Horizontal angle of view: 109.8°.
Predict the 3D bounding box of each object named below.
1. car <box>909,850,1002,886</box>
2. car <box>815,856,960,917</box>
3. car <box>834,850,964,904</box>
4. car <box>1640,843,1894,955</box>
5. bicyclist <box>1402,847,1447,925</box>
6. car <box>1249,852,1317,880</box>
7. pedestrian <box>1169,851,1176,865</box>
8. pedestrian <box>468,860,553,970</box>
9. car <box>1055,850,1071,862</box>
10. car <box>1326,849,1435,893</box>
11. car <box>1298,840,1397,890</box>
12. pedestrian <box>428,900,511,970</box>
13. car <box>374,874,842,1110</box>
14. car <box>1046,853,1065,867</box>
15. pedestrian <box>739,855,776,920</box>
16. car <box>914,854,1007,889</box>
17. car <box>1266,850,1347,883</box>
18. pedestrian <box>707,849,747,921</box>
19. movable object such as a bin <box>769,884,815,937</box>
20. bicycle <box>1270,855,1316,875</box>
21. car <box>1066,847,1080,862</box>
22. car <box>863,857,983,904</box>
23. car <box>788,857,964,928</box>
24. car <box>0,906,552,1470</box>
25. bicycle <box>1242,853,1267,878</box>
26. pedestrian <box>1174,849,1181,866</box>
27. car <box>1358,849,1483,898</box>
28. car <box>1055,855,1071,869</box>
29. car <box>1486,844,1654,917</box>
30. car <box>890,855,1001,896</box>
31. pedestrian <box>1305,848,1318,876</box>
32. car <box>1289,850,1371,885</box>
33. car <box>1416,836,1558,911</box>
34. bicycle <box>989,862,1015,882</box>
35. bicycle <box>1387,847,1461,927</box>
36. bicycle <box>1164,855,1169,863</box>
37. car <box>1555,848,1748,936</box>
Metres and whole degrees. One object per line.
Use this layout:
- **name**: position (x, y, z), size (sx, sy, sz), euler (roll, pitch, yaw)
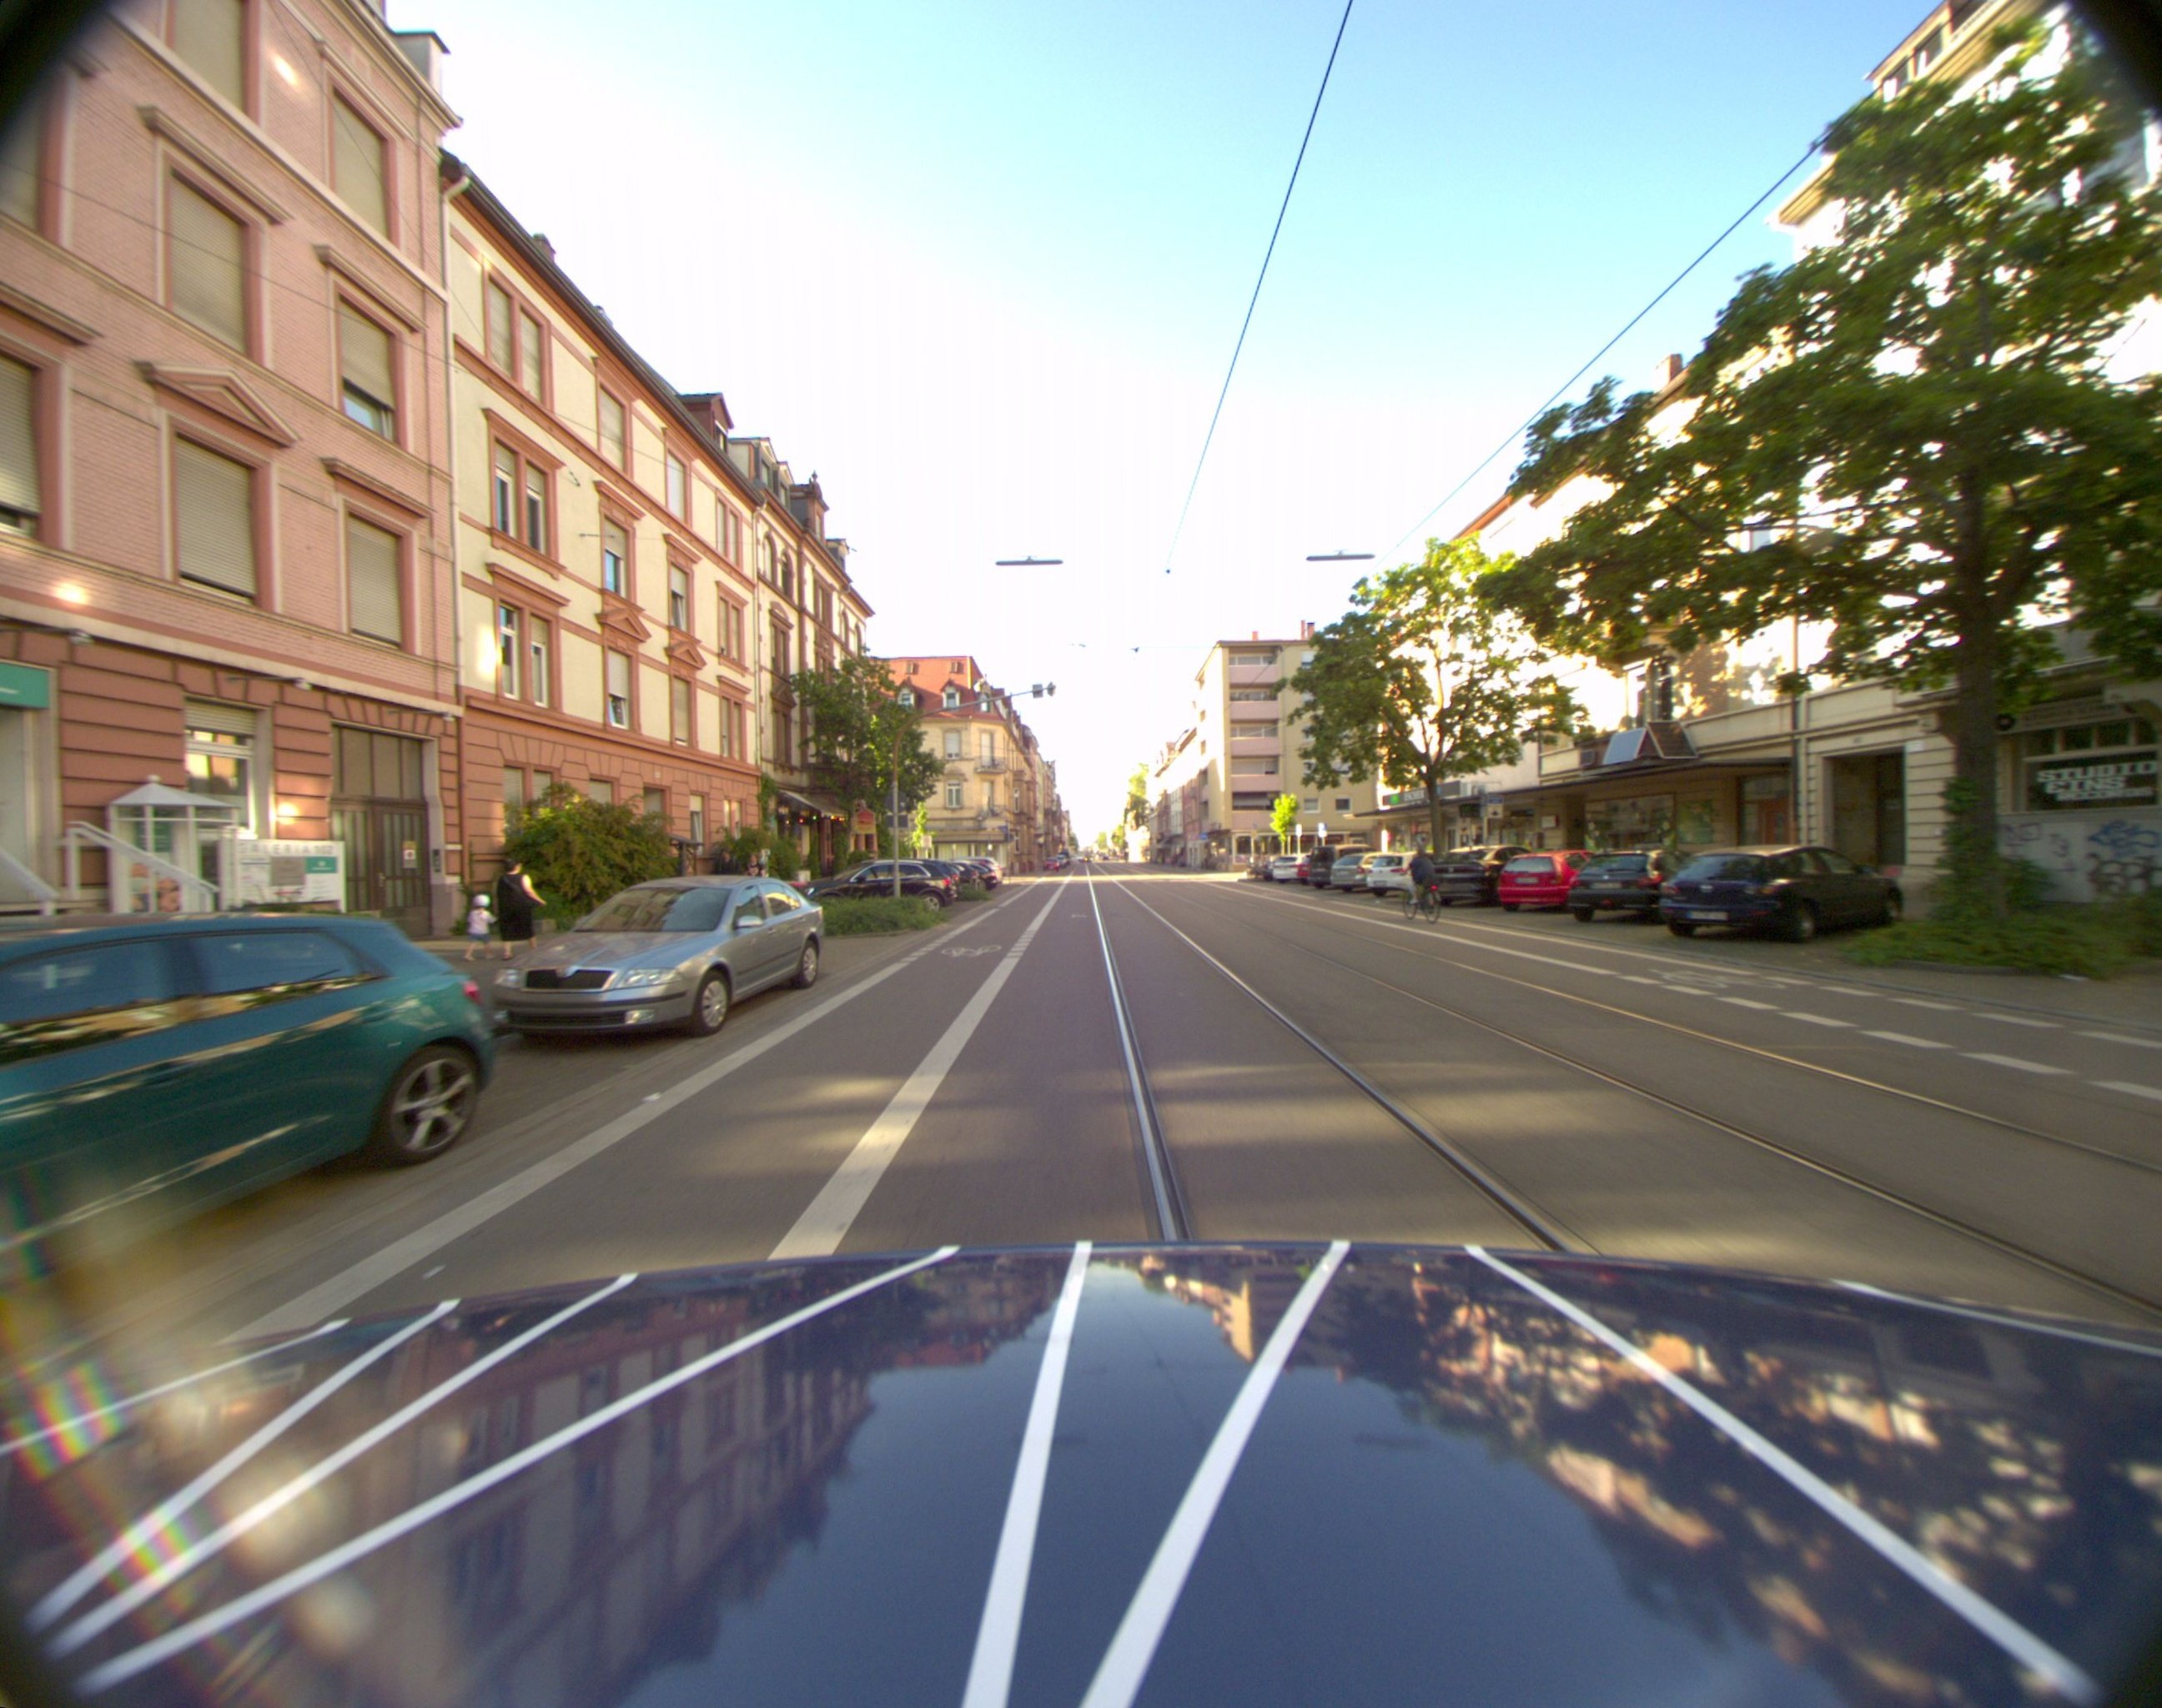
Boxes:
- **car**: position (-6.050, 0.645, 36.555), size (4.004, 1.528, 1.915), euler (-2, 1, -24)
- **car**: position (-5.984, 0.935, 23.476), size (4.004, 1.587, 2.083), euler (-2, 1, -24)
- **car**: position (-6.277, 0.745, 26.173), size (4.004, 1.587, 1.955), euler (-2, 1, -24)
- **car**: position (11.342, 0.635, 12.540), size (4.005, 1.481, 1.802), euler (-2, 1, -27)
- **bicyclist**: position (7.601, 0.689, 16.857), size (0.636, 1.672, 0.726), euler (-2, 1, 1)
- **car**: position (10.874, 0.614, 40.871), size (3.476, 1.330, 1.620), euler (-3, 1, -33)
- **pedestrian**: position (9.886, 0.459, 82.542), size (0.637, 1.540, 0.623), euler (-2, 1, 0)
- **pedestrian**: position (-8.684, 0.911, 11.586), size (0.713, 1.598, 0.654), euler (-2, 1, 0)
- **car**: position (-2.514, 0.311, 107.951), size (1.998, 1.606, 4.785), euler (2, 1, 0)
- **car**: position (11.433, 0.619, 28.976), size (4.025, 1.441, 1.695), euler (-2, 1, -29)
- **car**: position (11.217, 0.432, 31.895), size (3.828, 1.775, 1.793), euler (-4, 2, -30)
- **pedestrian**: position (-9.266, 1.211, 11.535), size (0.713, 0.975, 0.654), euler (2, 1, 0)
- **car**: position (-4.384, 1.130, 8.191), size (1.878, 1.587, 4.719), euler (-2, 1, 2)
- **car**: position (-2.829, 0.647, 84.370), size (1.870, 1.474, 4.400), euler (1, 1, 0)
- **pedestrian**: position (-8.471, 0.863, 19.909), size (0.519, 1.639, 0.863), euler (-2, 1, 1)
- **car**: position (-6.193, 0.855, 39.123), size (4.370, 1.587, 1.850), euler (-2, 1, -24)
- **car**: position (11.187, 0.597, 37.648), size (3.798, 1.392, 1.750), euler (-2, 1, -32)
- **pedestrian**: position (-8.979, 0.776, 19.288), size (0.519, 1.768, 0.863), euler (-2, 1, 1)
- **movable object such as a bin**: position (-5.967, 1.154, 15.731), size (0.606, 1.021, 0.806), euler (-1, 1, 1)
- **bicycle**: position (12.319, 0.657, 44.215), size (2.429, 1.102, 0.685), euler (-4, -2, 41)
- **car**: position (-1.389, 0.076, 136.064), size (2.128, 2.478, 5.856), euler (-2, 1, 2)
- **car**: position (-6.376, 1.018, 30.660), size (4.337, 1.587, 2.041), euler (-2, 1, -24)
- **car**: position (-5.568, 0.958, 20.632), size (4.322, 1.587, 1.978), euler (-2, 1, -24)
- **car**: position (-4.355, 1.173, 2.810), size (1.878, 1.587, 4.000), euler (-2, 1, 1)
- **bicycle**: position (9.746, 0.659, 42.697), size (0.683, 1.311, 2.435), euler (-2, -2, -3)
- **pedestrian**: position (9.764, 0.346, 77.255), size (0.564, 1.676, 0.616), euler (-2, 1, -1)
- **car**: position (11.477, 0.610, 25.678), size (3.849, 1.421, 1.762), euler (-2, 1, -25)
- **car**: position (-2.433, 1.052, 101.374), size (1.871, 1.637, 4.399), euler (2, 0, -4)
- **car**: position (11.879, 0.578, 18.415), size (4.006, 1.481, 1.863), euler (-2, 1, -32)
- **car**: position (-6.059, 0.911, 33.940), size (4.454, 1.587, 2.084), euler (-2, 1, -24)
- **pedestrian**: position (14.019, 0.474, 46.161), size (0.570, 1.643, 0.641), euler (-2, 1, 1)
- **car**: position (11.457, 0.587, 34.938), size (3.476, 1.464, 1.645), euler (-1, 0, -28)
- **car**: position (11.262, 0.474, 20.947), size (4.375, 1.772, 1.990), euler (-3, 1, -41)
- **bicycle**: position (-4.629, 1.044, 44.597), size (1.400, 1.120, 0.551), euler (-2, 1, 0)
- **bicycle**: position (7.620, 0.681, 17.003), size (0.682, 1.669, 2.096), euler (-2, 1, 1)
- **bicycle**: position (12.052, 0.729, 107.534), size (0.425, 1.053, 2.329), euler (-2, 1, 0)
- **car**: position (11.751, 0.685, 15.598), size (4.006, 1.481, 1.802), euler (-2, 1, -32)
